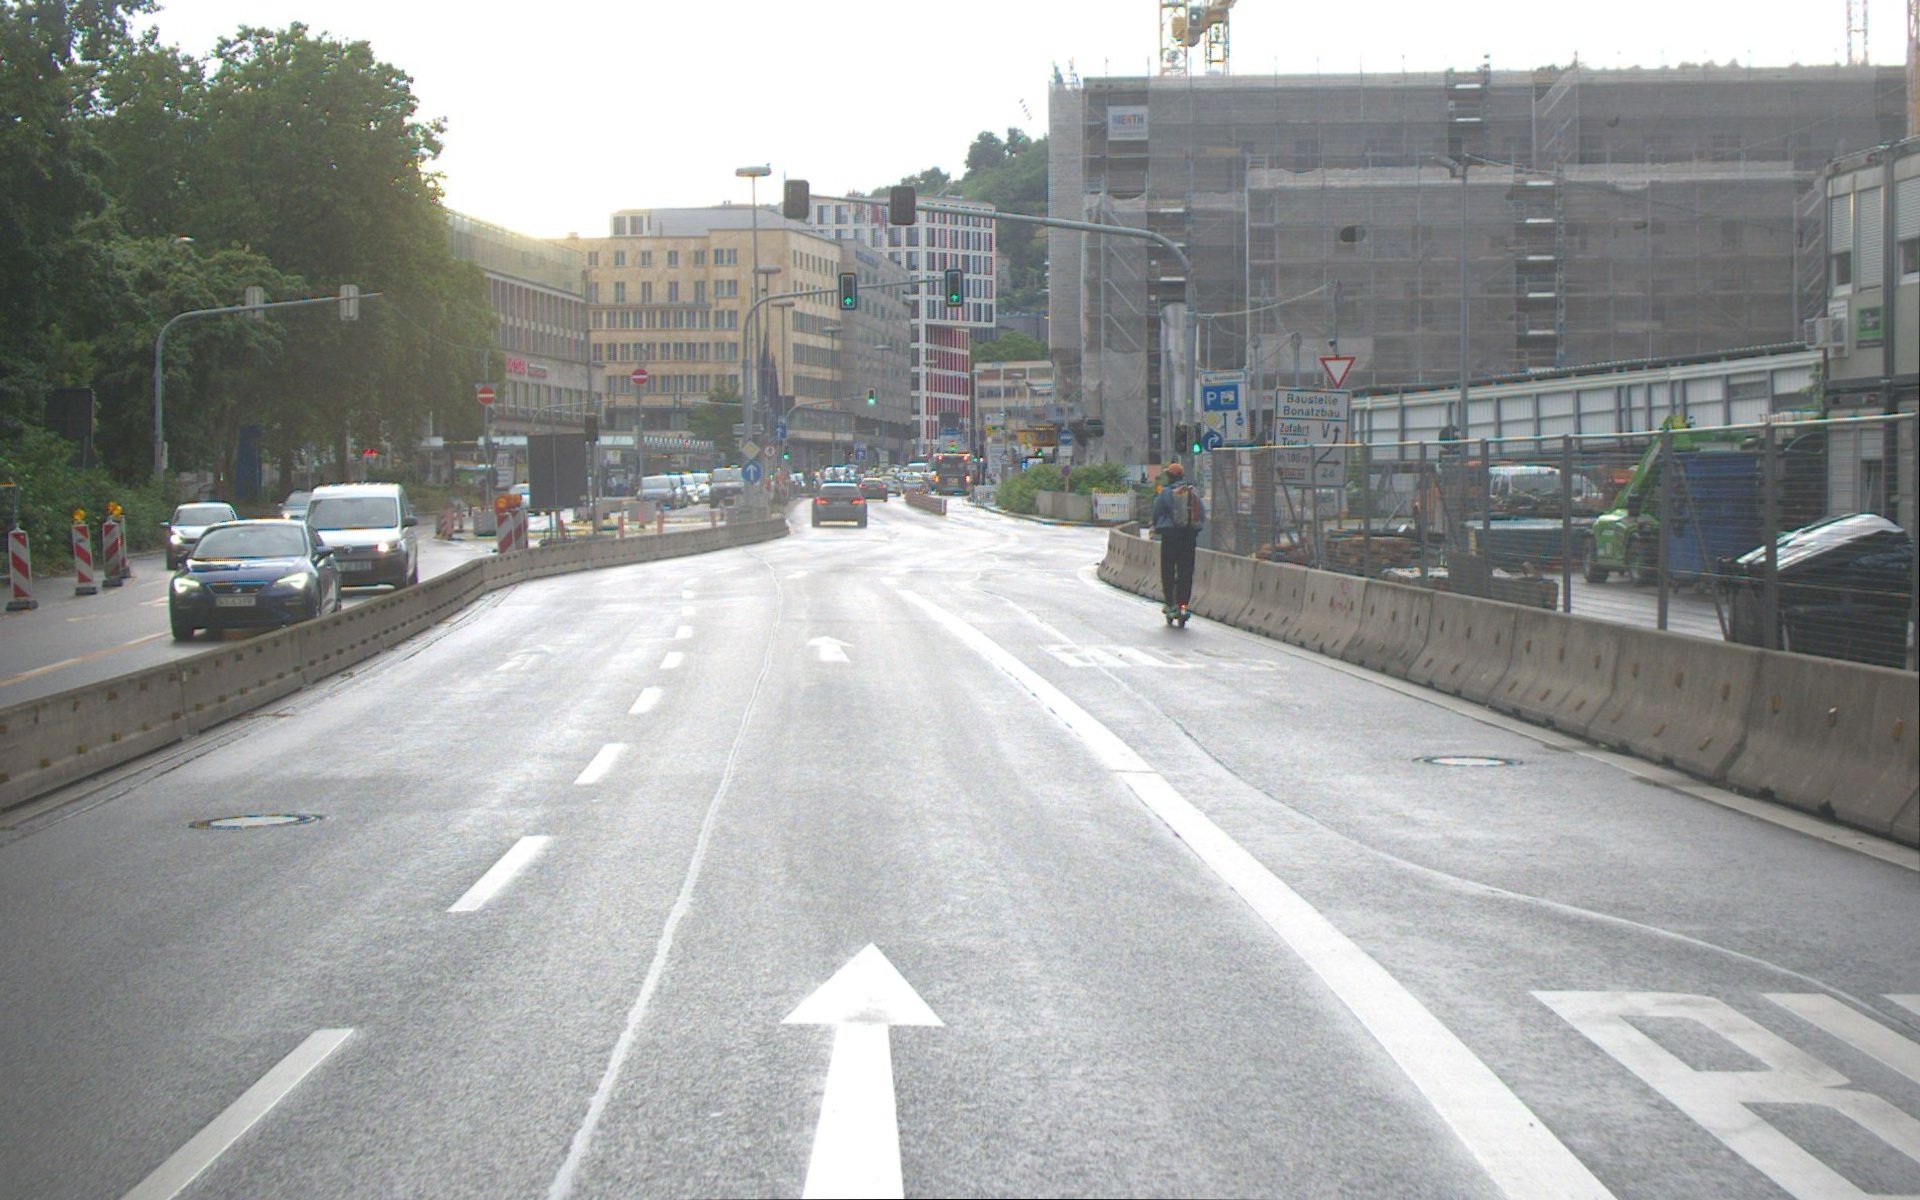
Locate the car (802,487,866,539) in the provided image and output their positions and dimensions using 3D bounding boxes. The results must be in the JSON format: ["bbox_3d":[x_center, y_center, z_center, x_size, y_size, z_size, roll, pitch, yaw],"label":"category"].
[{"bbox_3d":[-4.178,-2.842,113.461,1.902,1.523,4.178,-2,0,-4],"label":"car"}]

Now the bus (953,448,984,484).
[{"bbox_3d":[0.617,-10.015,256.875,1.994,2.423,3.999,-2,0,4],"label":"bus"}]

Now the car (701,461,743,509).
[{"bbox_3d":[-11.353,-5.480,163.879,1.902,2.075,4.178,-2,0,-4],"label":"car"}]

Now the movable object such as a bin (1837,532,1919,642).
[{"bbox_3d":[10.110,-0.146,36.397,1.246,1.119,1.239,-2,0,-3],"label":"movable object such as a bin"}]

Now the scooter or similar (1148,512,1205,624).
[{"bbox_3d":[2.597,-0.401,41.363,0.597,1.314,1.667,0,2,1],"label":"scooter or similar"}]

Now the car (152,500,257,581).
[{"bbox_3d":[-17.336,-1.336,79.055,1.875,1.700,4.001,-2,0,-6],"label":"car"}]

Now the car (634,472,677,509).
[{"bbox_3d":[-14.438,-5.188,163.098,1.902,1.523,4.178,-2,0,-4],"label":"car"}]

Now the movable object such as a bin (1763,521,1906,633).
[{"bbox_3d":[10.091,-0.259,39.723,1.246,1.232,1.239,-2,0,-3],"label":"movable object such as a bin"}]

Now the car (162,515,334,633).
[{"bbox_3d":[-8.804,-0.348,42.761,1.711,1.334,4.063,-2,1,-7],"label":"car"}]

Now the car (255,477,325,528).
[{"bbox_3d":[-23.220,-3.361,119.264,1.993,1.536,4.446,-2,0,-6],"label":"car"}]

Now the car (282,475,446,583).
[{"bbox_3d":[-9.887,-1.186,57.383,2.030,1.647,4.912,-2,1,-3],"label":"car"}]

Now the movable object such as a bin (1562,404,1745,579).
[{"bbox_3d":[11.494,-1.851,57.225,1.806,2.799,3.868,0,3,-7],"label":"movable object such as a bin"}]

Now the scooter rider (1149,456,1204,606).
[{"bbox_3d":[2.602,-0.840,41.368,0.597,1.779,0.997,0,2,1],"label":"scooter rider"}]

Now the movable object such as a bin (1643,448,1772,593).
[{"bbox_3d":[11.593,-1.252,53.351,1.456,2.195,1.265,-1,3,-25],"label":"movable object such as a bin"}]

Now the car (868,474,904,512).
[{"bbox_3d":[-4.396,-6.348,204.283,1.993,2.007,4.000,-2,0,0],"label":"car"}]
